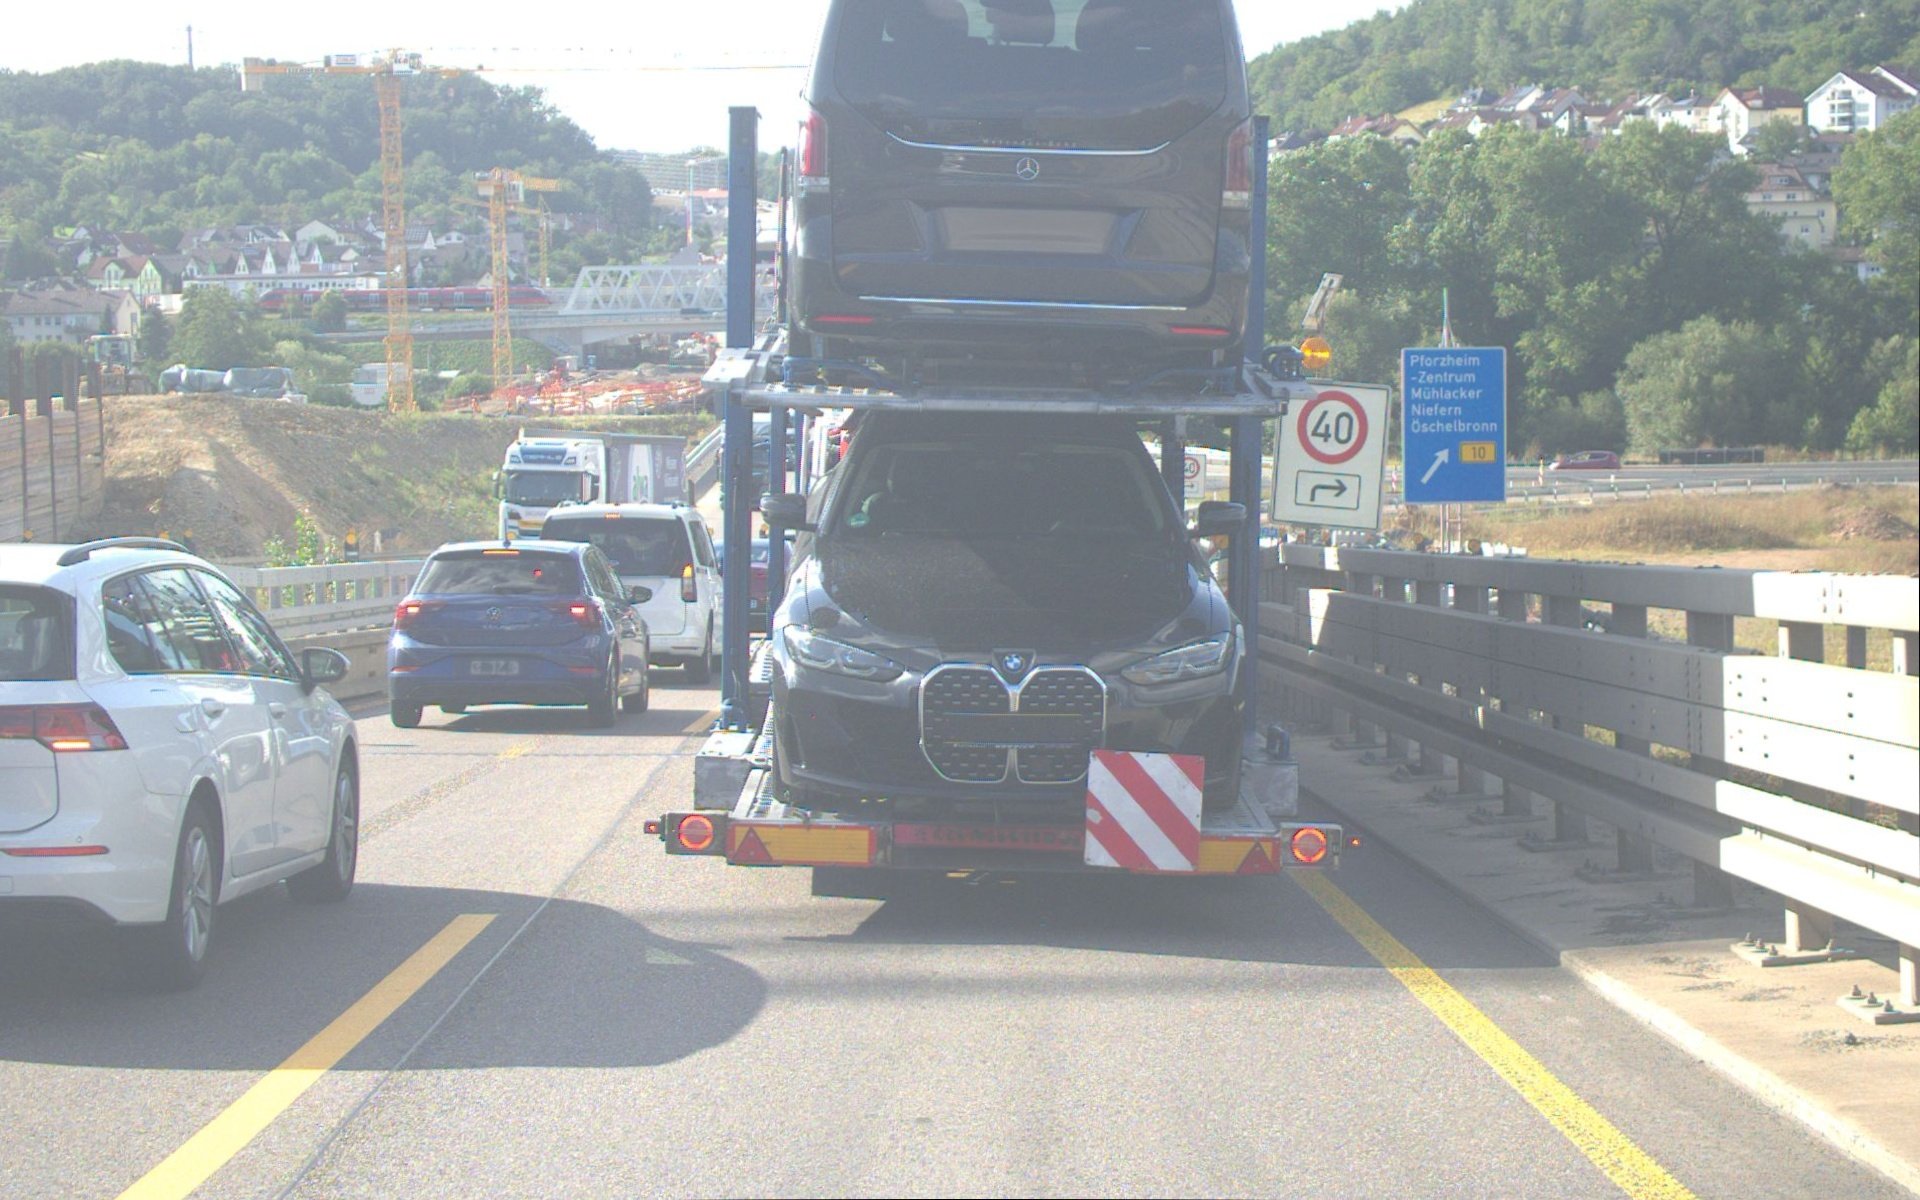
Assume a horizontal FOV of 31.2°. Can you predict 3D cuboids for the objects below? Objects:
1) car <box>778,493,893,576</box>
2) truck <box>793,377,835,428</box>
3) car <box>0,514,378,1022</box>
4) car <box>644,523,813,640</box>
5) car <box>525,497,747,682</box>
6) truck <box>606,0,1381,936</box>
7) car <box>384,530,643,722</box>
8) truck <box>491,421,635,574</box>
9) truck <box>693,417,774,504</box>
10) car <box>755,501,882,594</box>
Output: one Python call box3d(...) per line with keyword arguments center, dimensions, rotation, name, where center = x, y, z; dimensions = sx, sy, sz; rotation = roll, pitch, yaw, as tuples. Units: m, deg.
box3d(center=(-2.408, -1.263, 67.373), dimensions=(1.993, 1.547, 4.000), rotation=(1, 1, 1), name="car")
box3d(center=(-10.607, -14.395, 250.606), dimensions=(2.700, 3.300, 7.537), rotation=(1, 1, 0), name="truck")
box3d(center=(-3.352, 0.495, 12.347), dimensions=(1.770, 1.486, 4.516), rotation=(-1, 0, 0), name="car")
box3d(center=(-3.203, -0.267, 48.383), dimensions=(1.993, 1.551, 4.401), rotation=(1, 1, 1), name="car")
box3d(center=(-3.307, -0.120, 35.718), dimensions=(1.823, 1.786, 4.000), rotation=(1, 1, 1), name="car")
box3d(center=(0.079, -0.864, 22.126), dimensions=(2.753, 3.941, 18.890), rotation=(2, 1, 0), name="truck")
box3d(center=(-3.483, 0.181, 27.422), dimensions=(1.722, 1.417, 4.000), rotation=(0, 0, -3), name="car")
box3d(center=(-11.089, -2.816, 96.490), dimensions=(2.712, 4.123, 5.969), rotation=(1, 0, 6), name="truck")
box3d(center=(-10.461, -6.404, 158.527), dimensions=(2.776, 3.775, 6.020), rotation=(1, 1, -13), name="truck")
box3d(center=(-2.458, -0.913, 60.440), dimensions=(1.993, 1.547, 4.000), rotation=(1, 1, 1), name="car")
